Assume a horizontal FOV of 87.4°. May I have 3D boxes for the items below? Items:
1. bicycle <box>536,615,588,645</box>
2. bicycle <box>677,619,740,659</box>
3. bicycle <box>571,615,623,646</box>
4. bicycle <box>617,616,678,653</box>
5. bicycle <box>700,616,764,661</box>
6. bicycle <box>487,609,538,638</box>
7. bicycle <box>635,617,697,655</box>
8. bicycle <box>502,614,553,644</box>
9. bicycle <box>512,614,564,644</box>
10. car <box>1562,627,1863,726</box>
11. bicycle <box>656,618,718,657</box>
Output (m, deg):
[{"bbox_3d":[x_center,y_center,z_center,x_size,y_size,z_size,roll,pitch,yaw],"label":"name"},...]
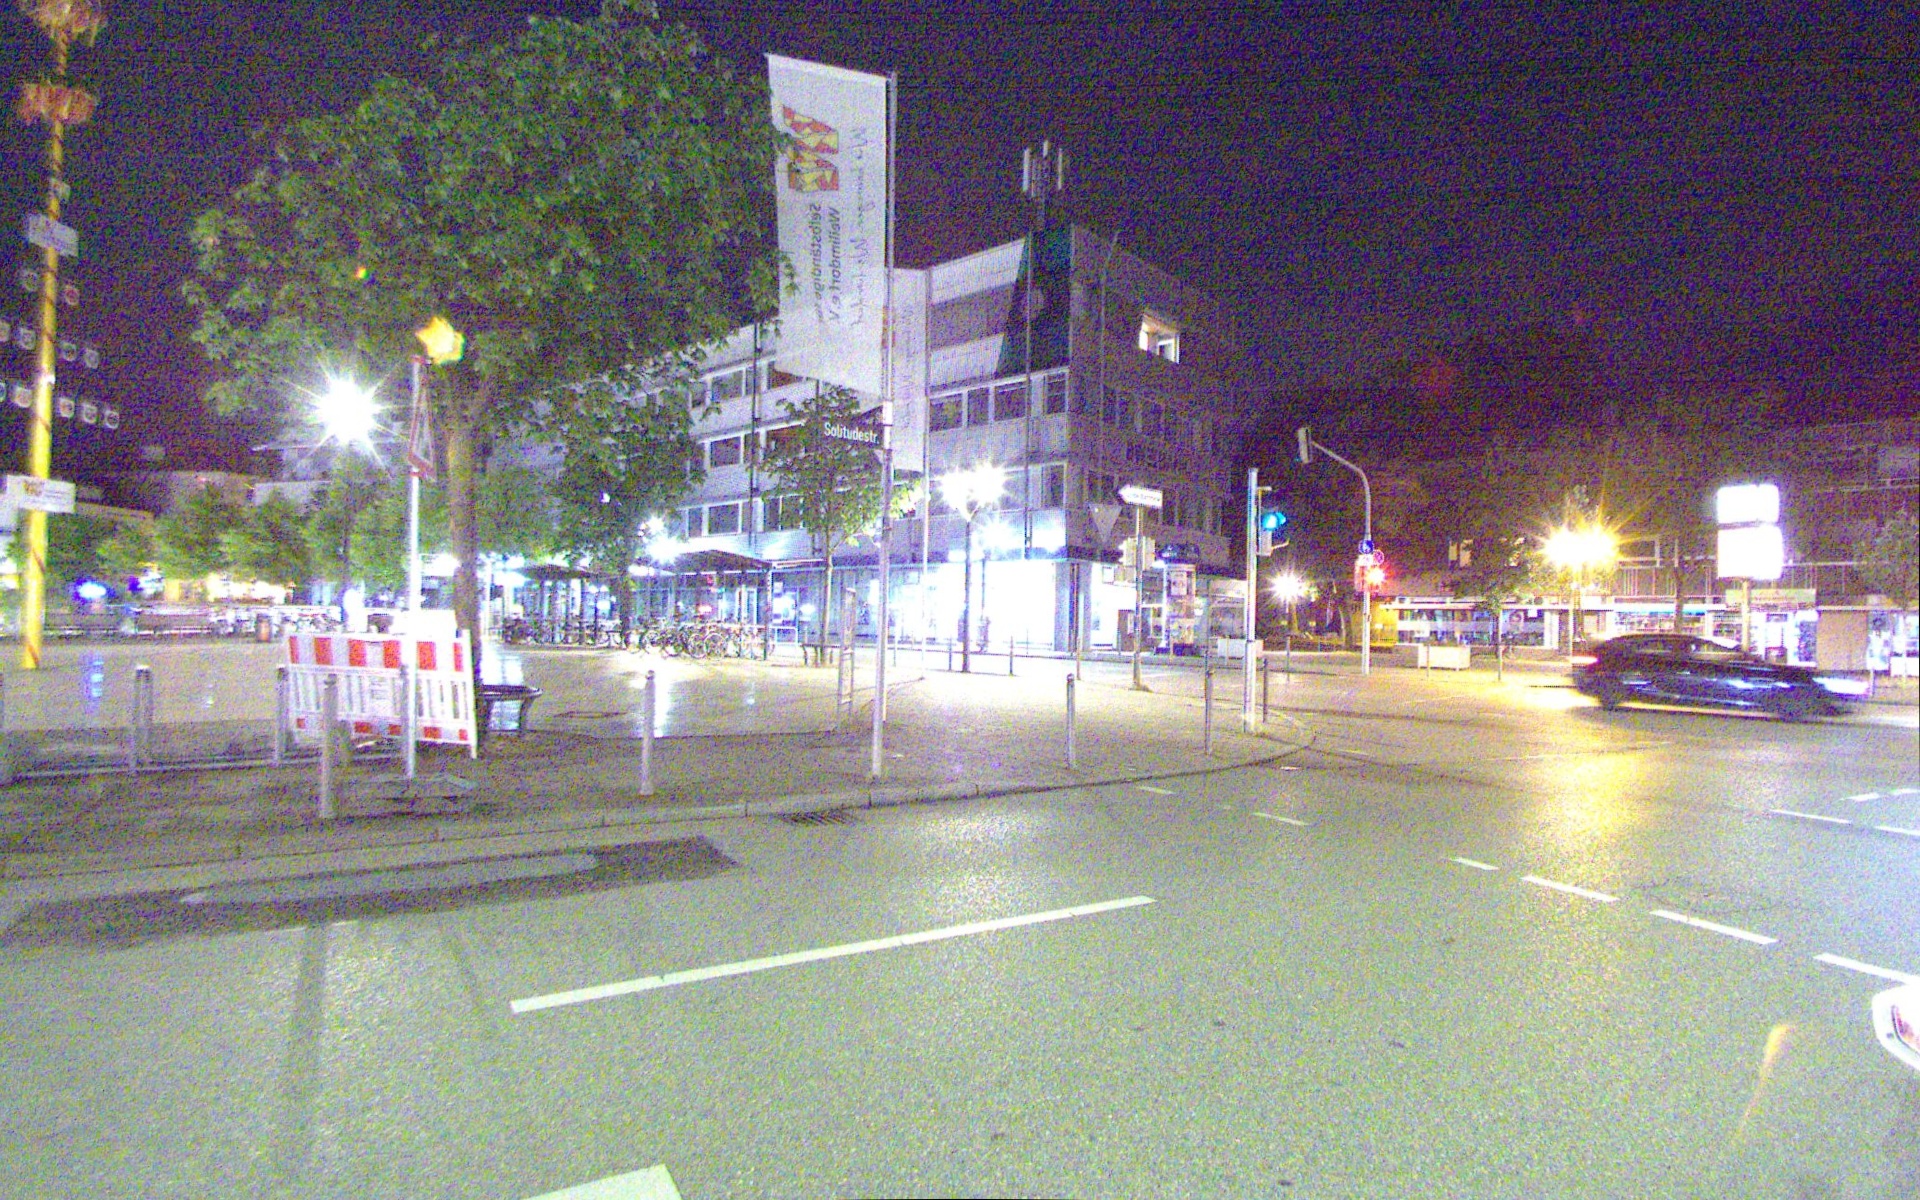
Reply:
[{"bbox_3d":[-13.117,0.994,33.116,0.473,0.970,1.525,2,0,44],"label":"bicycle"},{"bbox_3d":[-6.372,0.981,25.509,0.440,0.970,1.525,2,0,43],"label":"bicycle"},{"bbox_3d":[-11.960,1.011,33.108,0.473,0.970,1.525,2,0,44],"label":"bicycle"},{"bbox_3d":[-8.524,0.935,27.428,0.473,0.970,1.525,2,0,44],"label":"bicycle"},{"bbox_3d":[-5.644,0.942,24.930,0.440,1.068,1.525,2,0,43],"label":"bicycle"},{"bbox_3d":[-15.543,0.819,34.888,0.473,0.970,1.525,2,0,44],"label":"bicycle"},{"bbox_3d":[-7.844,0.953,26.828,0.473,0.970,1.525,2,0,44],"label":"bicycle"},{"bbox_3d":[-14.786,0.988,34.389,0.473,0.970,1.525,2,0,44],"label":"bicycle"},{"bbox_3d":[-14.177,0.979,33.743,0.473,0.970,1.525,2,0,44],"label":"bicycle"},{"bbox_3d":[13.722,1.319,18.585,4.248,1.473,1.872,2,0,38],"label":"car"},{"bbox_3d":[-7.099,0.962,26.146,0.473,0.970,1.525,2,0,44],"label":"bicycle"}]
